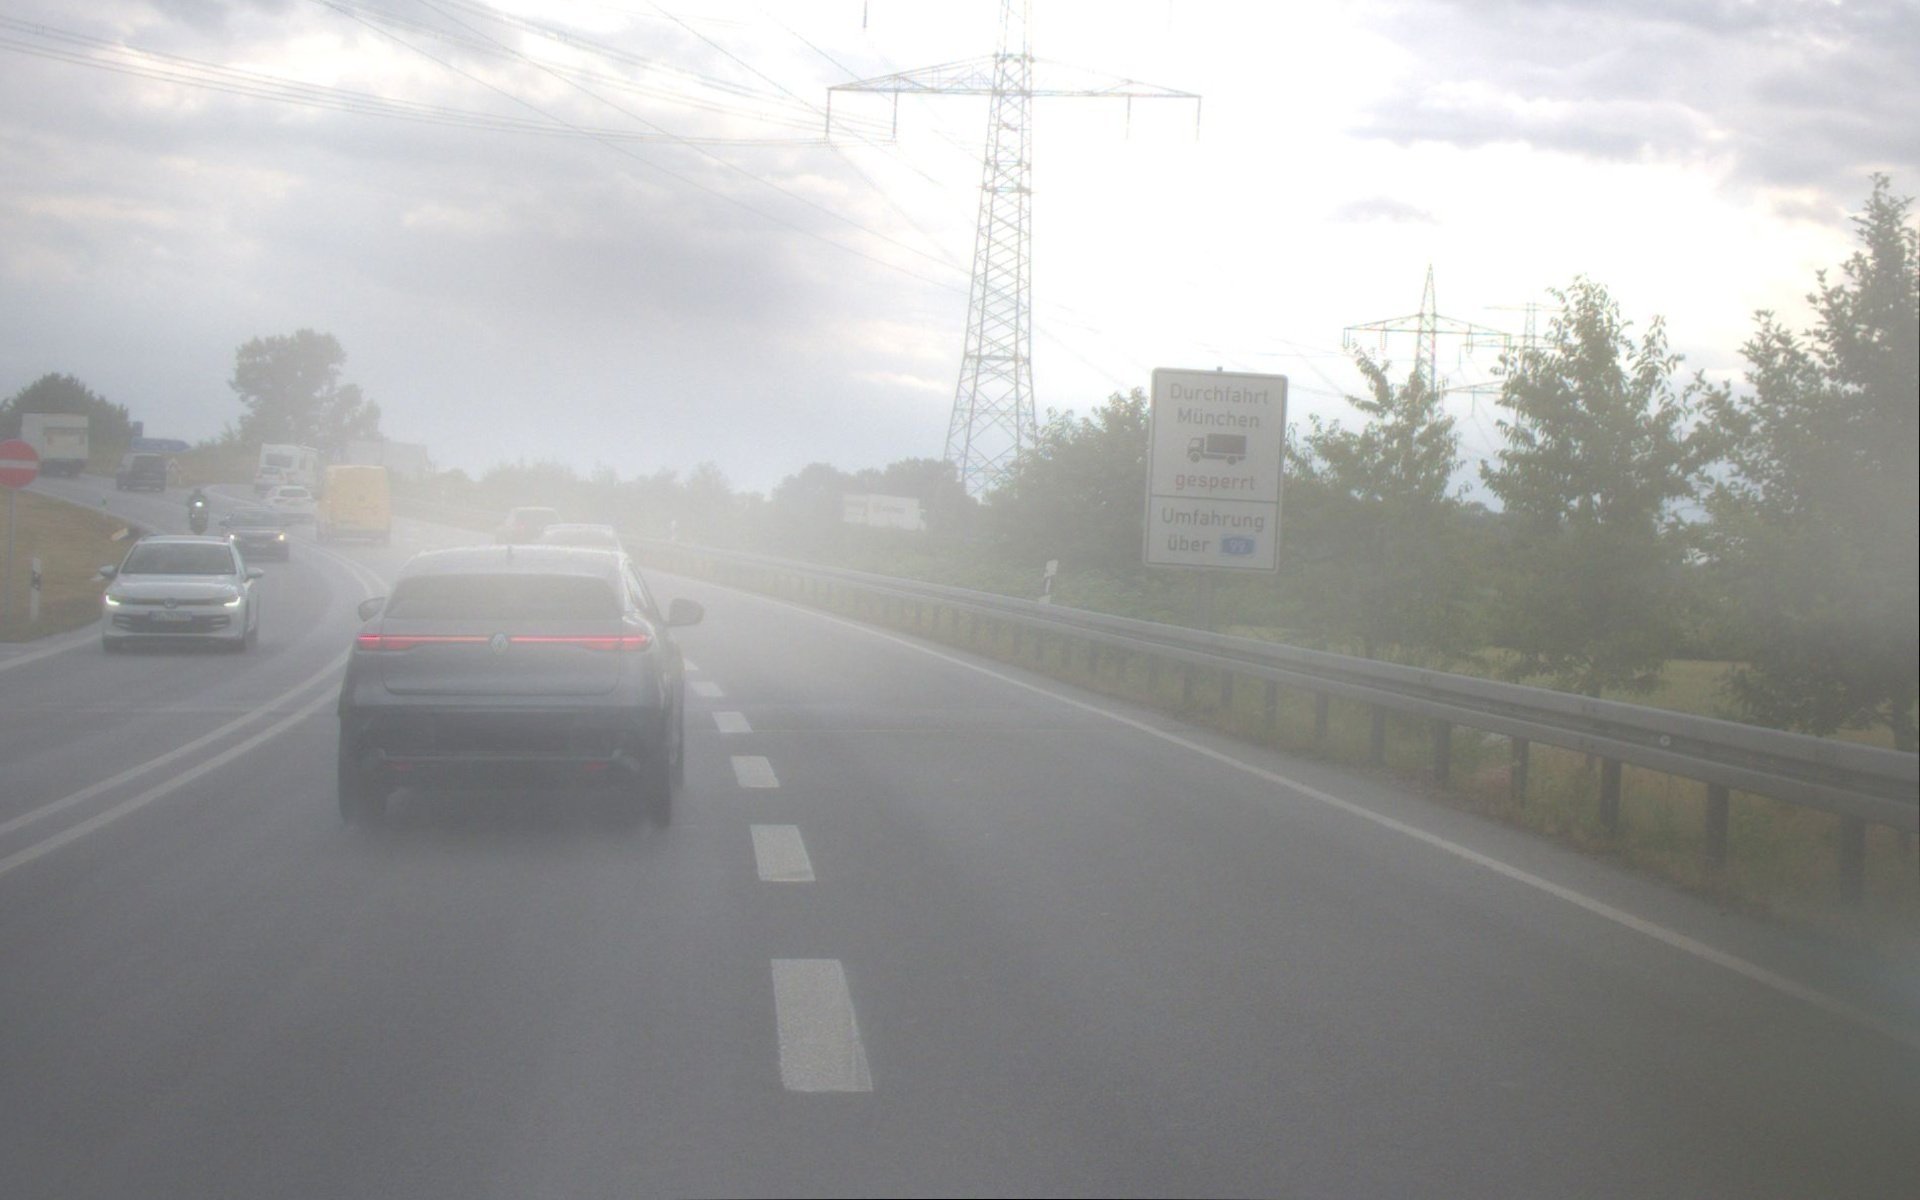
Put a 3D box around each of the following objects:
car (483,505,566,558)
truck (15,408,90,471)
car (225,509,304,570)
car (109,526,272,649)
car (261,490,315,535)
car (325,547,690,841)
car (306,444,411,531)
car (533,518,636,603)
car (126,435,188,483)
[{"bbox_3d":[-12.868,-2.026,101.378,1.791,1.536,4.001,0,1,-17],"label":"car"},{"bbox_3d":[-52.647,-9.248,199.286,3.045,3.373,7.646,1,1,-23],"label":"truck"},{"bbox_3d":[-19.129,-1.631,94.421,1.799,1.588,4.226,1,0,-16],"label":"car"},{"bbox_3d":[-9.913,-0.165,44.535,1.705,1.475,4.612,1,0,-9],"label":"car"},{"bbox_3d":[-26.497,-3.427,135.416,1.791,1.682,4.001,1,1,-15],"label":"car"},{"bbox_3d":[-2.481,0.504,19.544,1.791,1.436,4.000,2,-1,-5],"label":"car"},{"bbox_3d":[-19.765,-3.658,112.716,2.572,2.716,7.199,0,1,-16],"label":"car"},{"bbox_3d":[-7.014,-0.758,63.944,1.791,1.436,4.001,2,2,-7],"label":"car"},{"bbox_3d":[-41.225,-7.224,176.427,2.601,2.243,5.537,1,1,-18],"label":"car"}]
